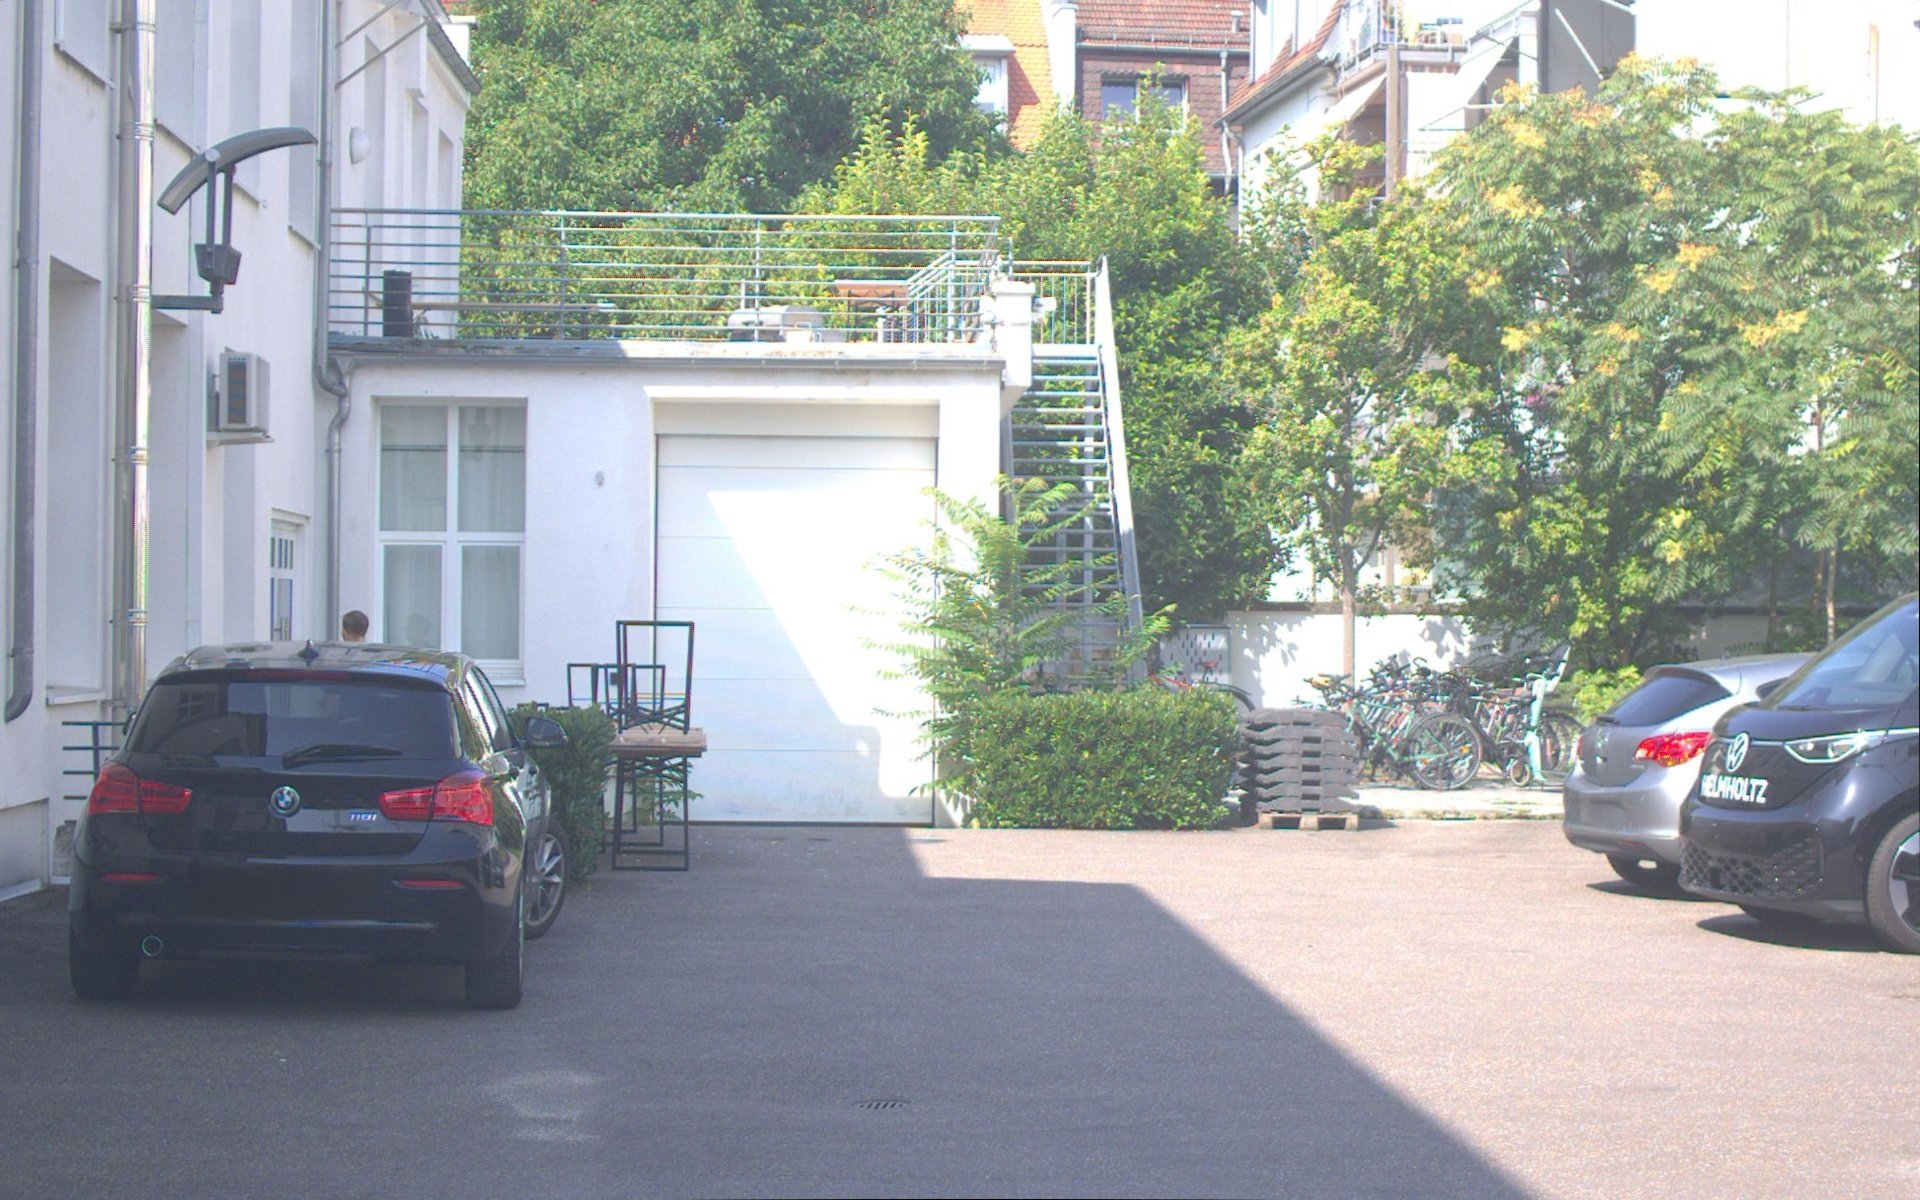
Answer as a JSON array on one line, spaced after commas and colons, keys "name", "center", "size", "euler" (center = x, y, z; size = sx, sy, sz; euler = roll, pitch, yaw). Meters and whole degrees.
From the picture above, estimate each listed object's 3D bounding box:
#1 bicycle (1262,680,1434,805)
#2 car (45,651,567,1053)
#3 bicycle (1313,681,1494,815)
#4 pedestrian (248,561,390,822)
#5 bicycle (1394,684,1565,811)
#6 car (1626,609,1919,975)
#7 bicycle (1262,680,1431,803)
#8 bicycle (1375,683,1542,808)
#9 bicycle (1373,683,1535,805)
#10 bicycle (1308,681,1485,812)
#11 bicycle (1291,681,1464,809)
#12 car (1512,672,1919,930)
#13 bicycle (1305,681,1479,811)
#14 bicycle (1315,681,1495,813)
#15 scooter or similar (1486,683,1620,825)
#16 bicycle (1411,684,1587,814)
[{"name": "bicycle", "center": [3.805, 1.400, 33.752], "size": [1.623, 1.210, 0.424], "euler": [0, -1, -3]}, {"name": "car", "center": [-2.646, 0.979, 14.724], "size": [1.688, 1.454, 3.923], "euler": [2, -1, -4]}, {"name": "bicycle", "center": [4.079, 1.359, 31.653], "size": [1.623, 1.210, 0.327], "euler": [0, -1, 0]}, {"name": "pedestrian", "center": [-5.051, 0.719, 27.139], "size": [0.913, 2.007, 0.935], "euler": [2, -1, -2]}, {"name": "bicycle", "center": [5.065, 1.427, 33.508], "size": [1.624, 1.210, 0.424], "euler": [0, -1, 11]}, {"name": "car", "center": [6.002, 0.997, 18.133], "size": [4.499, 1.788, 1.883], "euler": [1, -2, -11]}, {"name": "bicycle", "center": [3.865, 1.415, 34.389], "size": [1.622, 1.210, 0.424], "euler": [0, -1, -7]}, {"name": "bicycle", "center": [4.943, 1.437, 34.082], "size": [1.624, 1.210, 0.424], "euler": [0, -1, 10]}, {"name": "bicycle", "center": [5.046, 1.463, 35.111], "size": [1.624, 1.210, 0.424], "euler": [0, -1, 10]}, {"name": "bicycle", "center": [4.093, 1.373, 32.268], "size": [1.623, 1.210, 0.327], "euler": [0, -1, 0]}, {"name": "bicycle", "center": [4.019, 1.389, 33.082], "size": [1.624, 1.210, 0.327], "euler": [0, -1, 11]}, {"name": "car", "center": [5.555, 1.209, 21.002], "size": [3.931, 1.477, 1.775], "euler": [1, -2, -11]}, {"name": "bicycle", "center": [4.111, 1.384, 32.720], "size": [1.623, 1.210, 0.327], "euler": [0, -1, 8]}, {"name": "bicycle", "center": [4.133, 1.368, 31.976], "size": [1.623, 1.210, 0.327], "euler": [0, -1, 0]}, {"name": "scooter or similar", "center": [5.420, 1.396, 31.447], "size": [0.378, 1.257, 1.348], "euler": [1, -1, -34]}, {"name": "bicycle", "center": [5.119, 1.409, 32.650], "size": [1.624, 1.210, 0.327], "euler": [0, -1, 13]}]
